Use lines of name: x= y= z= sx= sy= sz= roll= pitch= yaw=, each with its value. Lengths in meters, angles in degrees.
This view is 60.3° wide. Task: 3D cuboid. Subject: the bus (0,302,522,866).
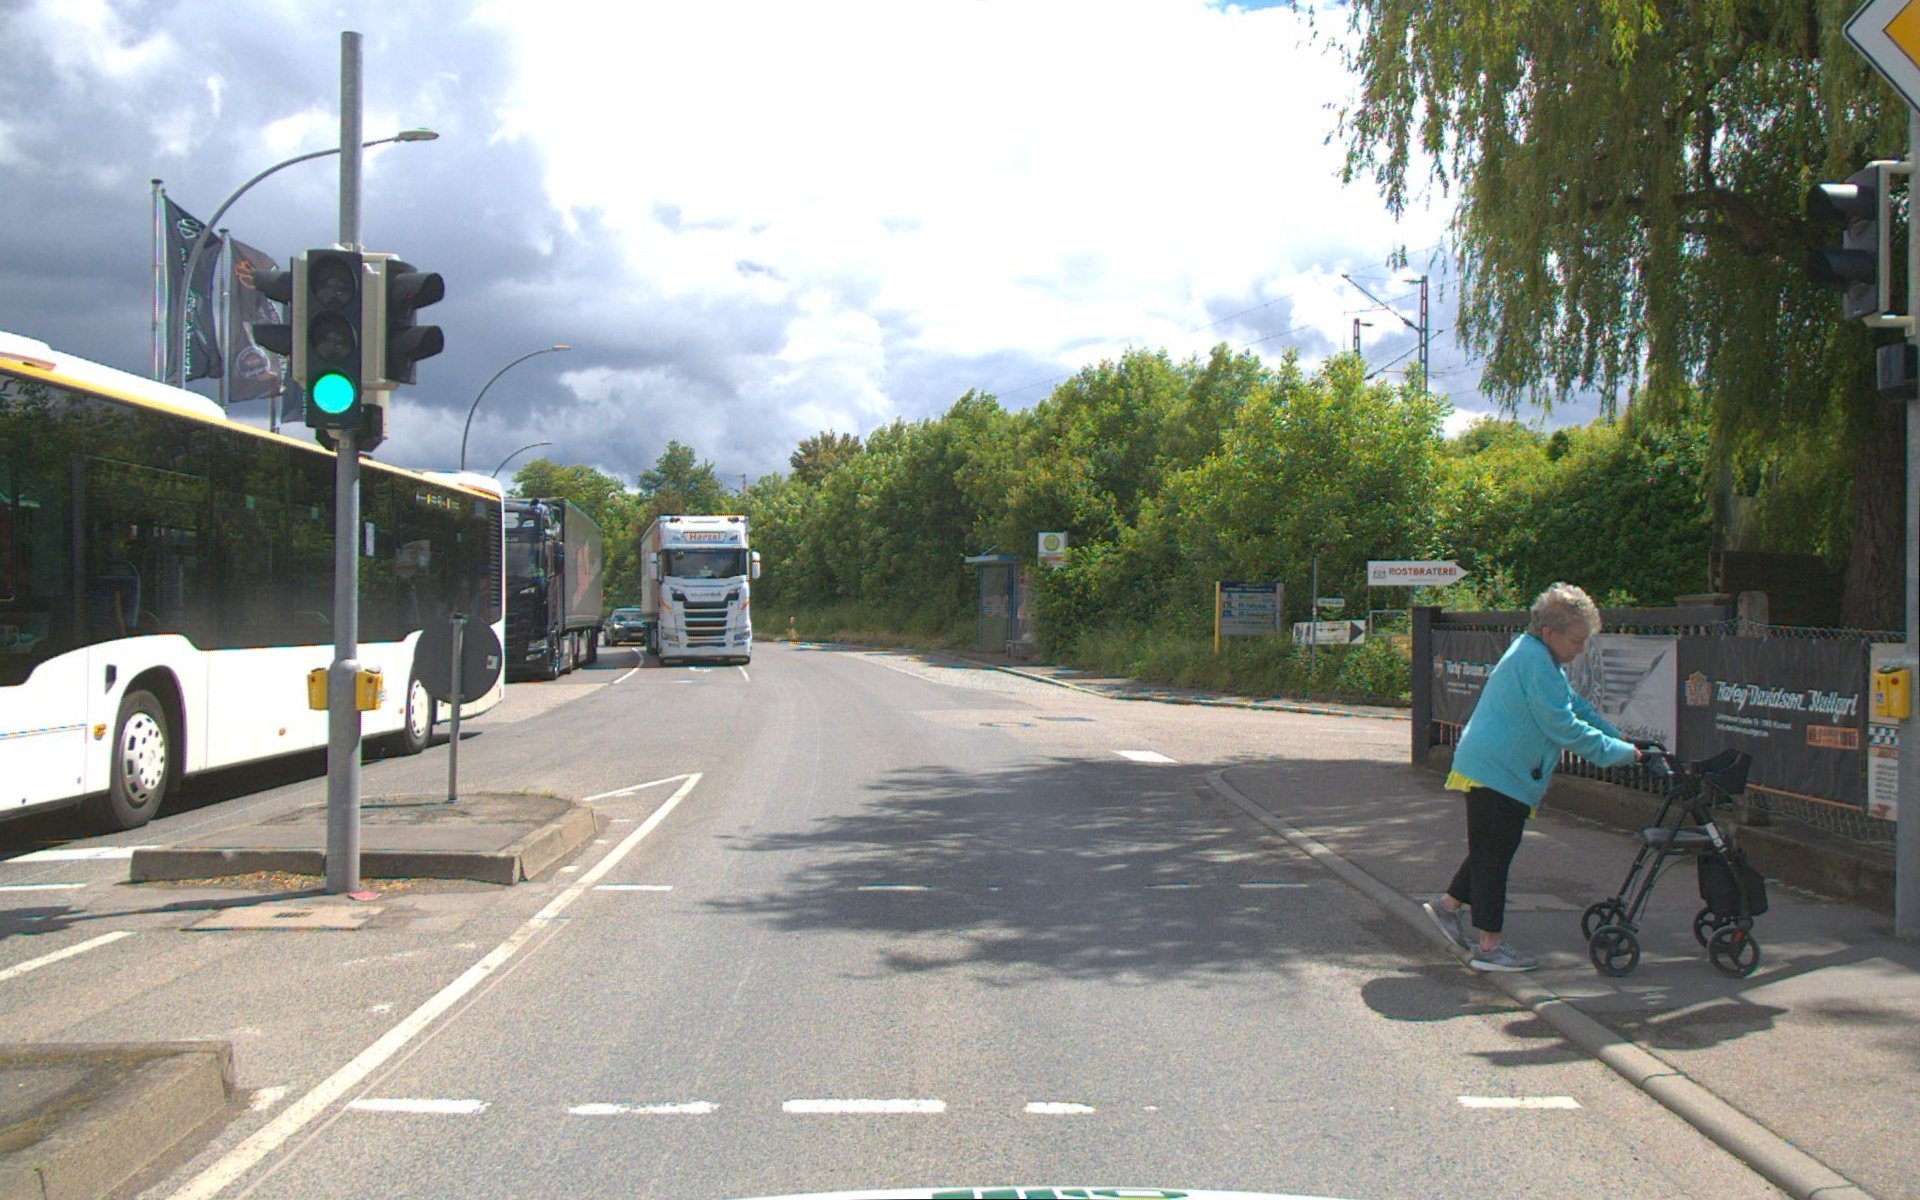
bus: x=-6.656 y=-0.020 z=14.238 sx=2.663 sy=3.084 sz=12.262 roll=0 pitch=-1 yaw=-1

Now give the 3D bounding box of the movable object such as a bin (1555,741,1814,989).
movable object such as a bin: x=2.876 y=1.036 z=6.622 sx=0.731 sy=0.887 sz=0.670 roll=1 pitch=-1 yaw=-2

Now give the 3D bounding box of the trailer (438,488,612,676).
trailer: x=-11.272 y=-0.312 z=44.422 sx=2.747 sy=4.124 sz=15.524 roll=1 pitch=-1 yaw=-8

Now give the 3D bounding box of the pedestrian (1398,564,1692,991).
pedestrian: x=2.318 y=0.674 z=6.641 sx=0.822 sy=1.570 sz=0.733 roll=-3 pitch=-1 yaw=-2

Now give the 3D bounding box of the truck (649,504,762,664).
truck: x=-7.163 y=-0.388 z=46.082 sx=2.723 sy=4.191 sz=4.970 roll=1 pitch=-1 yaw=-13

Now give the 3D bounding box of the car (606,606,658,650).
car: x=-13.560 y=1.146 z=68.230 sx=1.959 sy=1.736 sz=3.986 roll=1 pitch=-1 yaw=-13

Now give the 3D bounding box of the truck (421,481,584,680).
truck: x=-10.309 y=-0.374 z=37.900 sx=2.747 sy=4.124 sz=6.488 roll=1 pitch=-1 yaw=-9

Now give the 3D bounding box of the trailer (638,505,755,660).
trailer: x=-8.698 y=-0.404 z=53.032 sx=2.723 sy=4.217 sz=15.301 roll=1 pitch=-1 yaw=-12
